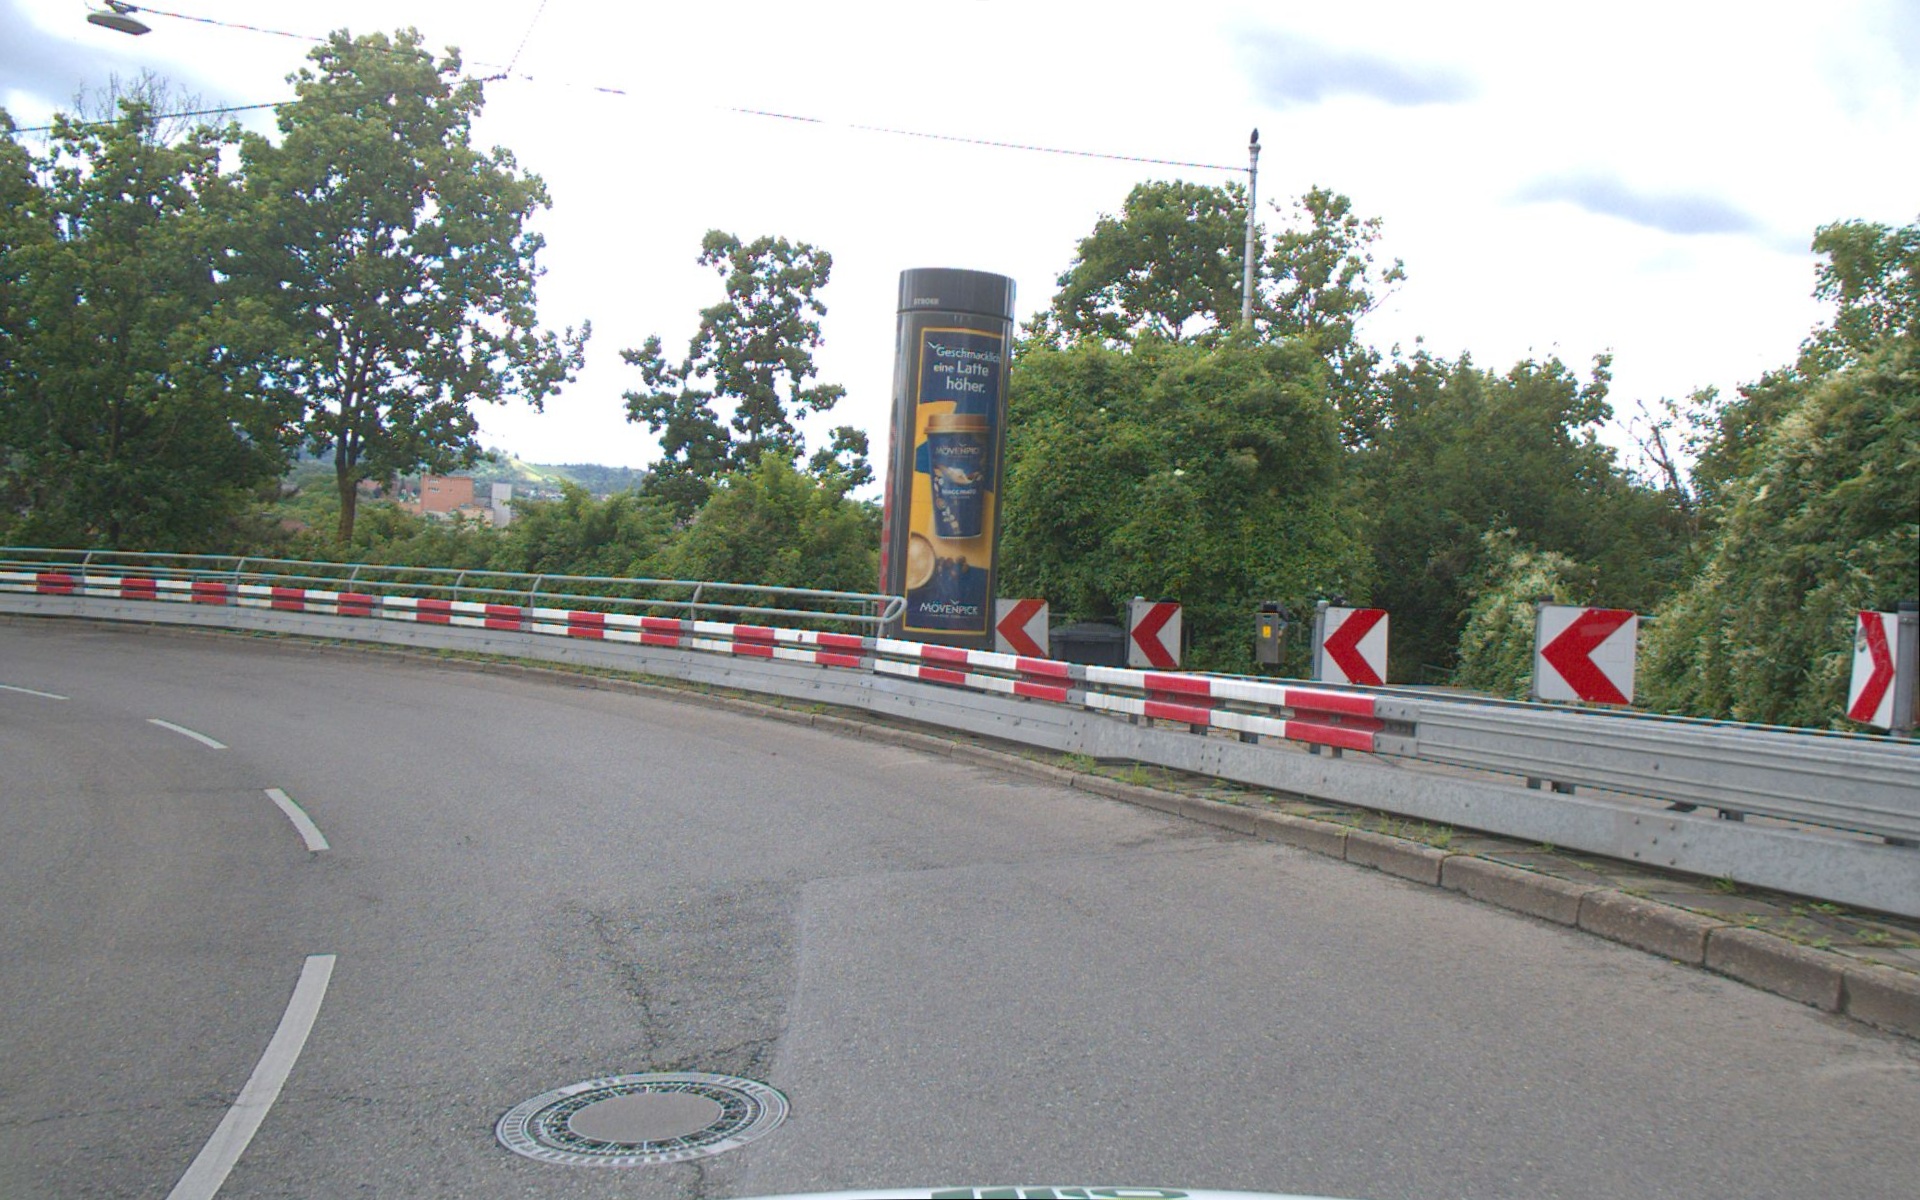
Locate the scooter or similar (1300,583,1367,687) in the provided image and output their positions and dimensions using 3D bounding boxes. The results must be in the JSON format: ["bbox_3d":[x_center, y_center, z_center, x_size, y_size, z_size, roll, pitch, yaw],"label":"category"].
[{"bbox_3d":[4.811,0.439,21.261,0.427,1.272,1.499,2,1,28],"label":"scooter or similar"}]
